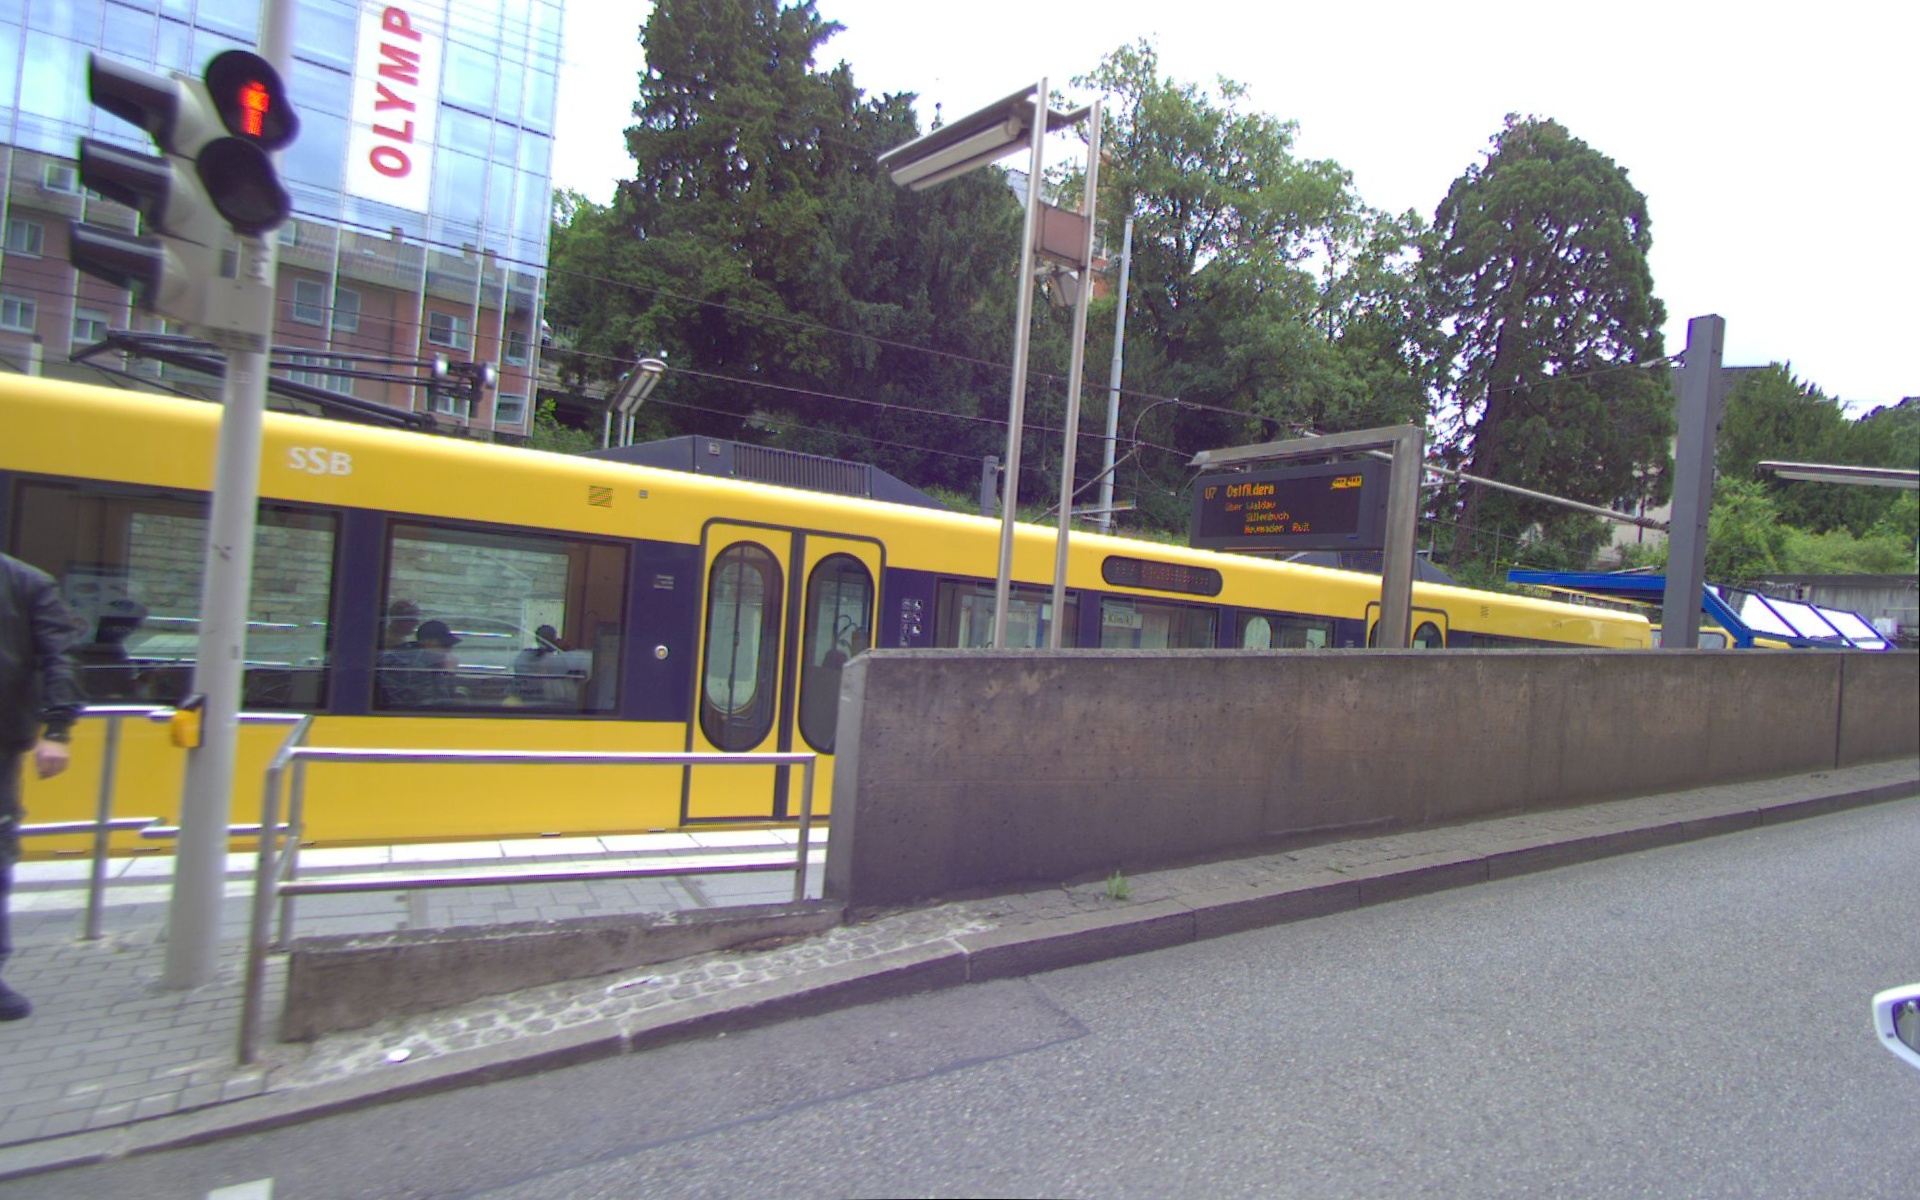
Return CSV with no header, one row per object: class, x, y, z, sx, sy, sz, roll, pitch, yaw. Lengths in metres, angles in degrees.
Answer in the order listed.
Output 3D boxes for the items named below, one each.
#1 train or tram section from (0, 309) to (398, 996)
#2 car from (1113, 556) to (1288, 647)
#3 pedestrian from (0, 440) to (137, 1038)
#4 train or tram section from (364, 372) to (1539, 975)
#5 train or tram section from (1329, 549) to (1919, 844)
train or tram section,-9.392,-0.107,4.143,12.084,3.516,2.934,6,-2,-31
car,5.946,-0.002,24.792,3.955,2.041,1.982,0,3,-32
pedestrian,-3.280,0.407,3.254,0.793,1.801,0.812,1,1,-30
train or tram section,1.036,0.774,10.285,12.082,3.529,2.934,4,-1,-31
train or tram section,11.677,1.475,16.678,12.839,3.555,2.934,3,-1,-31
